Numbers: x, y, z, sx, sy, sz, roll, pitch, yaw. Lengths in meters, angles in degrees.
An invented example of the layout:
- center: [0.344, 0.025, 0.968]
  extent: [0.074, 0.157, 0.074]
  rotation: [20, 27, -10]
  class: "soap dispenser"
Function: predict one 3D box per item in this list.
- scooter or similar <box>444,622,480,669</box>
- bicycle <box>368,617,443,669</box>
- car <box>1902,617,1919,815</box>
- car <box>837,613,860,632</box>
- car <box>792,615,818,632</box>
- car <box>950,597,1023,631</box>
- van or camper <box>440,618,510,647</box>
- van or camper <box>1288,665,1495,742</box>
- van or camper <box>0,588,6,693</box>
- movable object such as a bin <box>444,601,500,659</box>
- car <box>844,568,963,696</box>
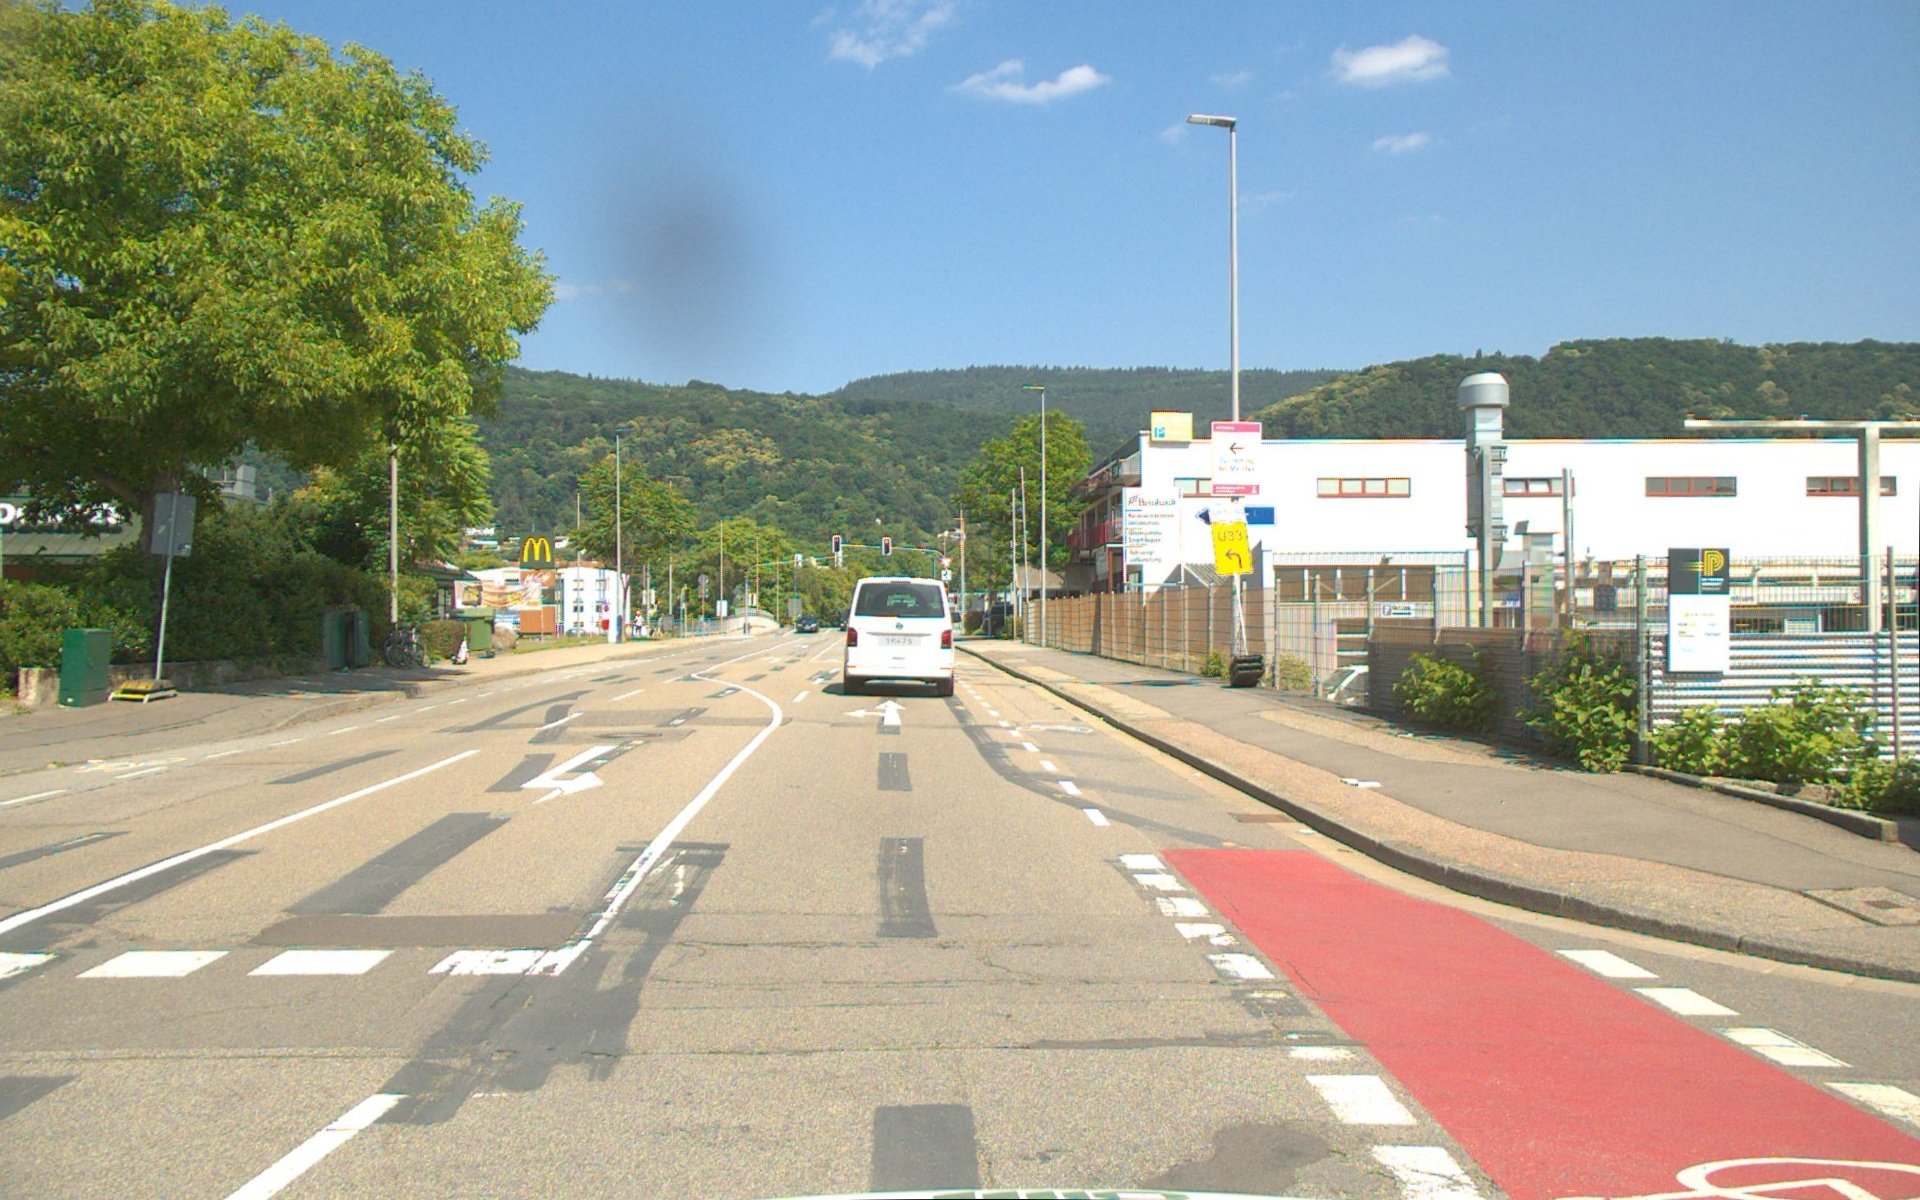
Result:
- center: [-12.768, 1.158, 42.452]
  extent: [0.635, 1.147, 1.619]
  rotation: [3, -1, -9]
  class: "scooter or similar"
- center: [-12.921, 0.991, 38.629]
  extent: [1.007, 1.137, 2.762]
  rotation: [2, -1, -6]
  class: "bicycle"
- center: [7.211, 0.798, 10.395]
  extent: [1.914, 1.382, 4.492]
  rotation: [3, -1, 26]
  class: "car"
- center: [-9.358, 1.888, 139.369]
  extent: [1.812, 1.616, 3.998]
  rotation: [-1, -1, -3]
  class: "car"
- center: [-12.633, 1.923, 135.182]
  extent: [1.954, 1.394, 4.323]
  rotation: [-1, -1, -4]
  class: "car"
- center: [1.461, 0.773, 90.470]
  extent: [3.903, 1.806, 2.001]
  rotation: [-1, -1, 3]
  class: "car"
- center: [-29.587, 1.972, 100.822]
  extent: [3.930, 1.601, 1.987]
  rotation: [2, -1, -22]
  class: "van or camper"
- center: [9.973, 2.385, 38.428]
  extent: [4.231, 1.680, 2.017]
  rotation: [0, -1, -8]
  class: "van or camper"
- center: [-17.113, 0.593, 25.903]
  extent: [3.323, 1.694, 1.633]
  rotation: [2, -1, -1]
  class: "van or camper"
- center: [-14.161, 0.857, 48.049]
  extent: [1.422, 1.618, 1.303]
  rotation: [-1, 0, -12]
  class: "movable object such as a bin"
- center: [-1.076, 0.545, 29.268]
  extent: [1.896, 2.096, 4.540]
  rotation: [0, -1, -4]
  class: "car"
